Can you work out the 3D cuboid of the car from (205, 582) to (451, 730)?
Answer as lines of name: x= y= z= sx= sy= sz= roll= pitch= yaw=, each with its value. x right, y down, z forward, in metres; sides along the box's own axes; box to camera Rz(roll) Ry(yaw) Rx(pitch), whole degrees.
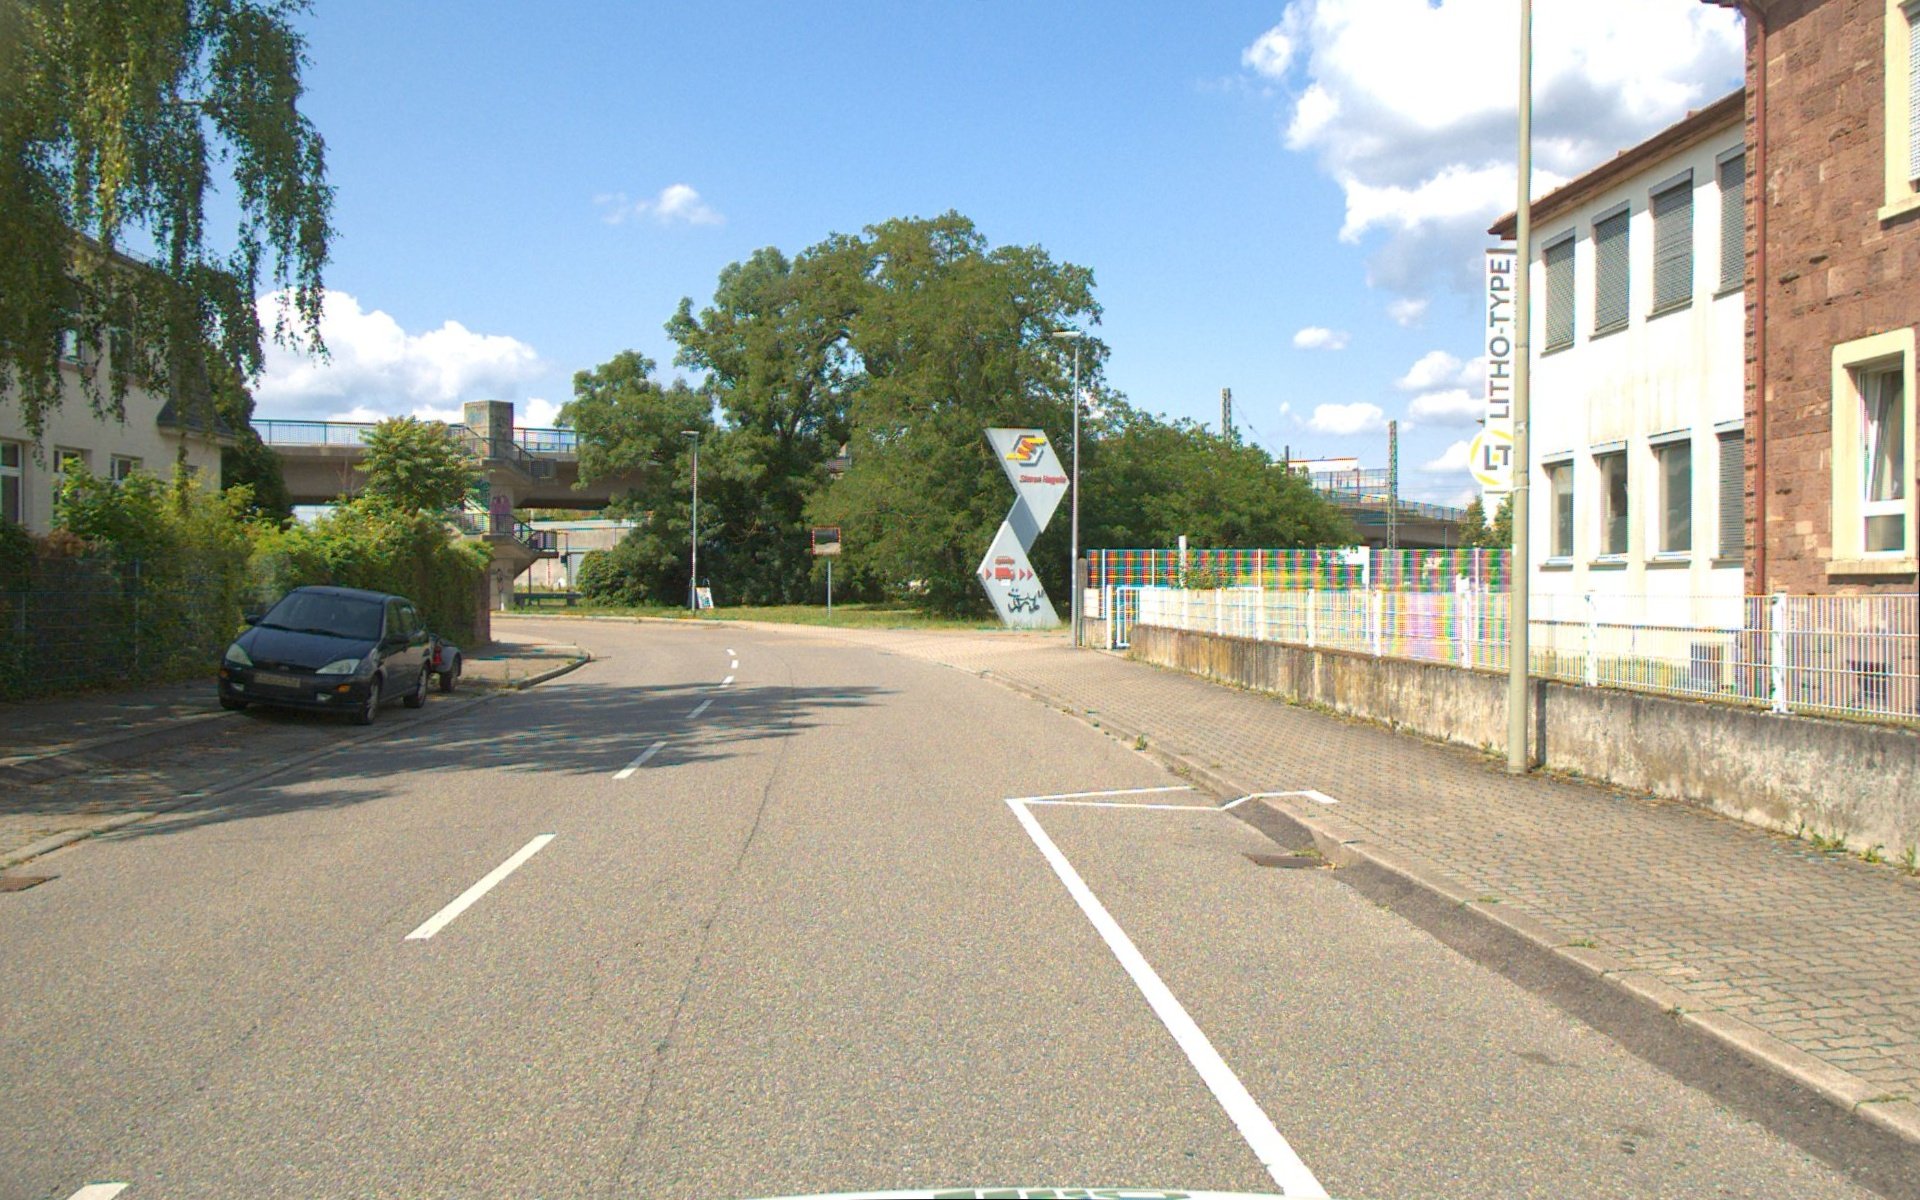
car: x=-7.660 y=0.629 z=20.477 sx=1.650 sy=1.538 sz=4.153 roll=4 pitch=-1 yaw=-5

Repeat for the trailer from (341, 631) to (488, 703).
trailer: x=-8.148 y=0.983 z=24.880 sx=1.435 sy=0.865 sz=2.465 roll=5 pitch=0 yaw=-3
